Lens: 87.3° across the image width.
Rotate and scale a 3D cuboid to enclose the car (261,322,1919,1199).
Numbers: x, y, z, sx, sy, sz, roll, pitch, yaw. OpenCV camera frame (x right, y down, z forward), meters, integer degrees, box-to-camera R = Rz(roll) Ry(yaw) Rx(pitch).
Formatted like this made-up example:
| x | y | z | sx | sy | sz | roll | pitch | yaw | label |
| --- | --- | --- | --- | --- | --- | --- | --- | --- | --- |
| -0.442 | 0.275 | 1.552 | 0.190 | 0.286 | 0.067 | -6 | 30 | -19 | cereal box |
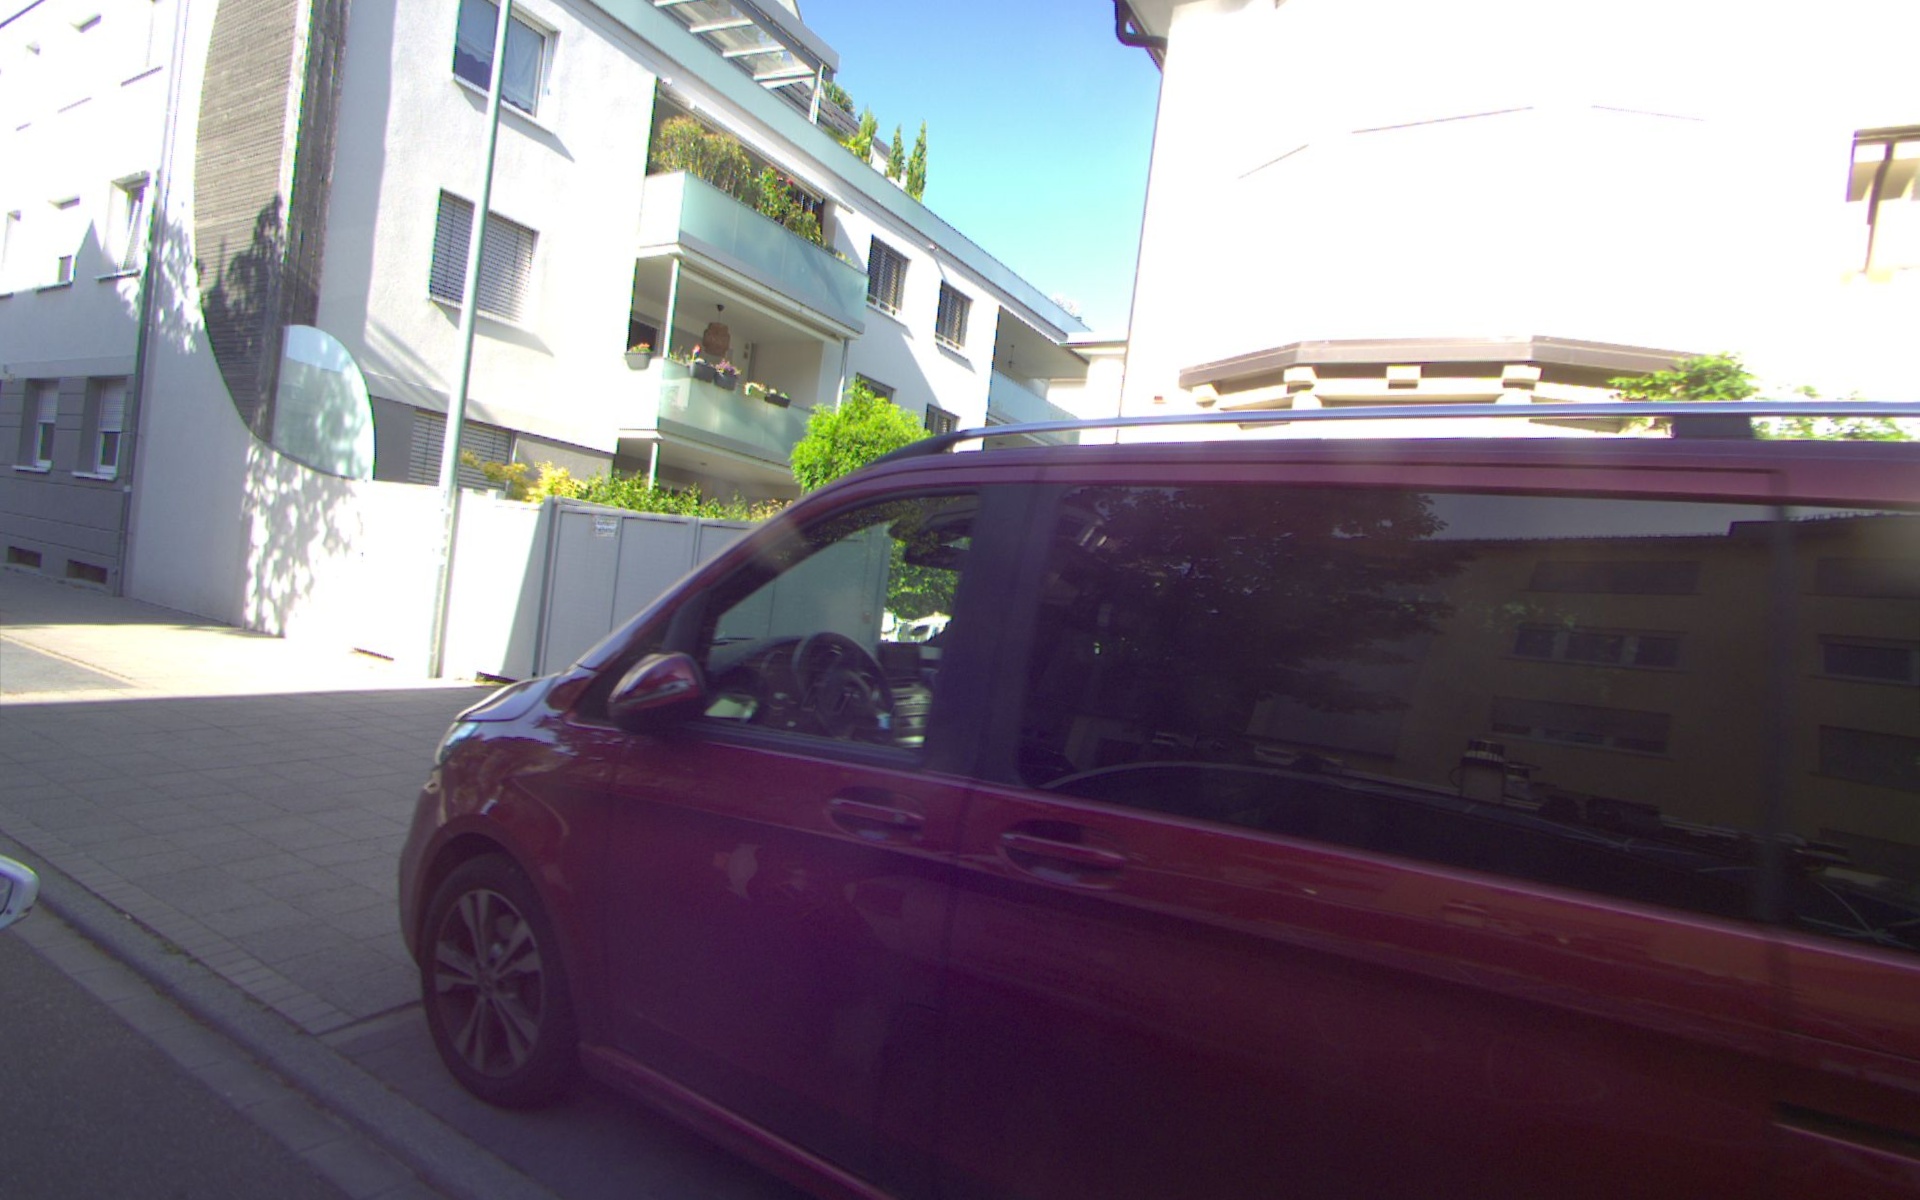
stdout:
| x | y | z | sx | sy | sz | roll | pitch | yaw | label |
| --- | --- | --- | --- | --- | --- | --- | --- | --- | --- |
| 0.504 | 0.601 | 2.560 | 5.113 | 1.929 | 1.872 | 6 | 1 | 33 | car |
